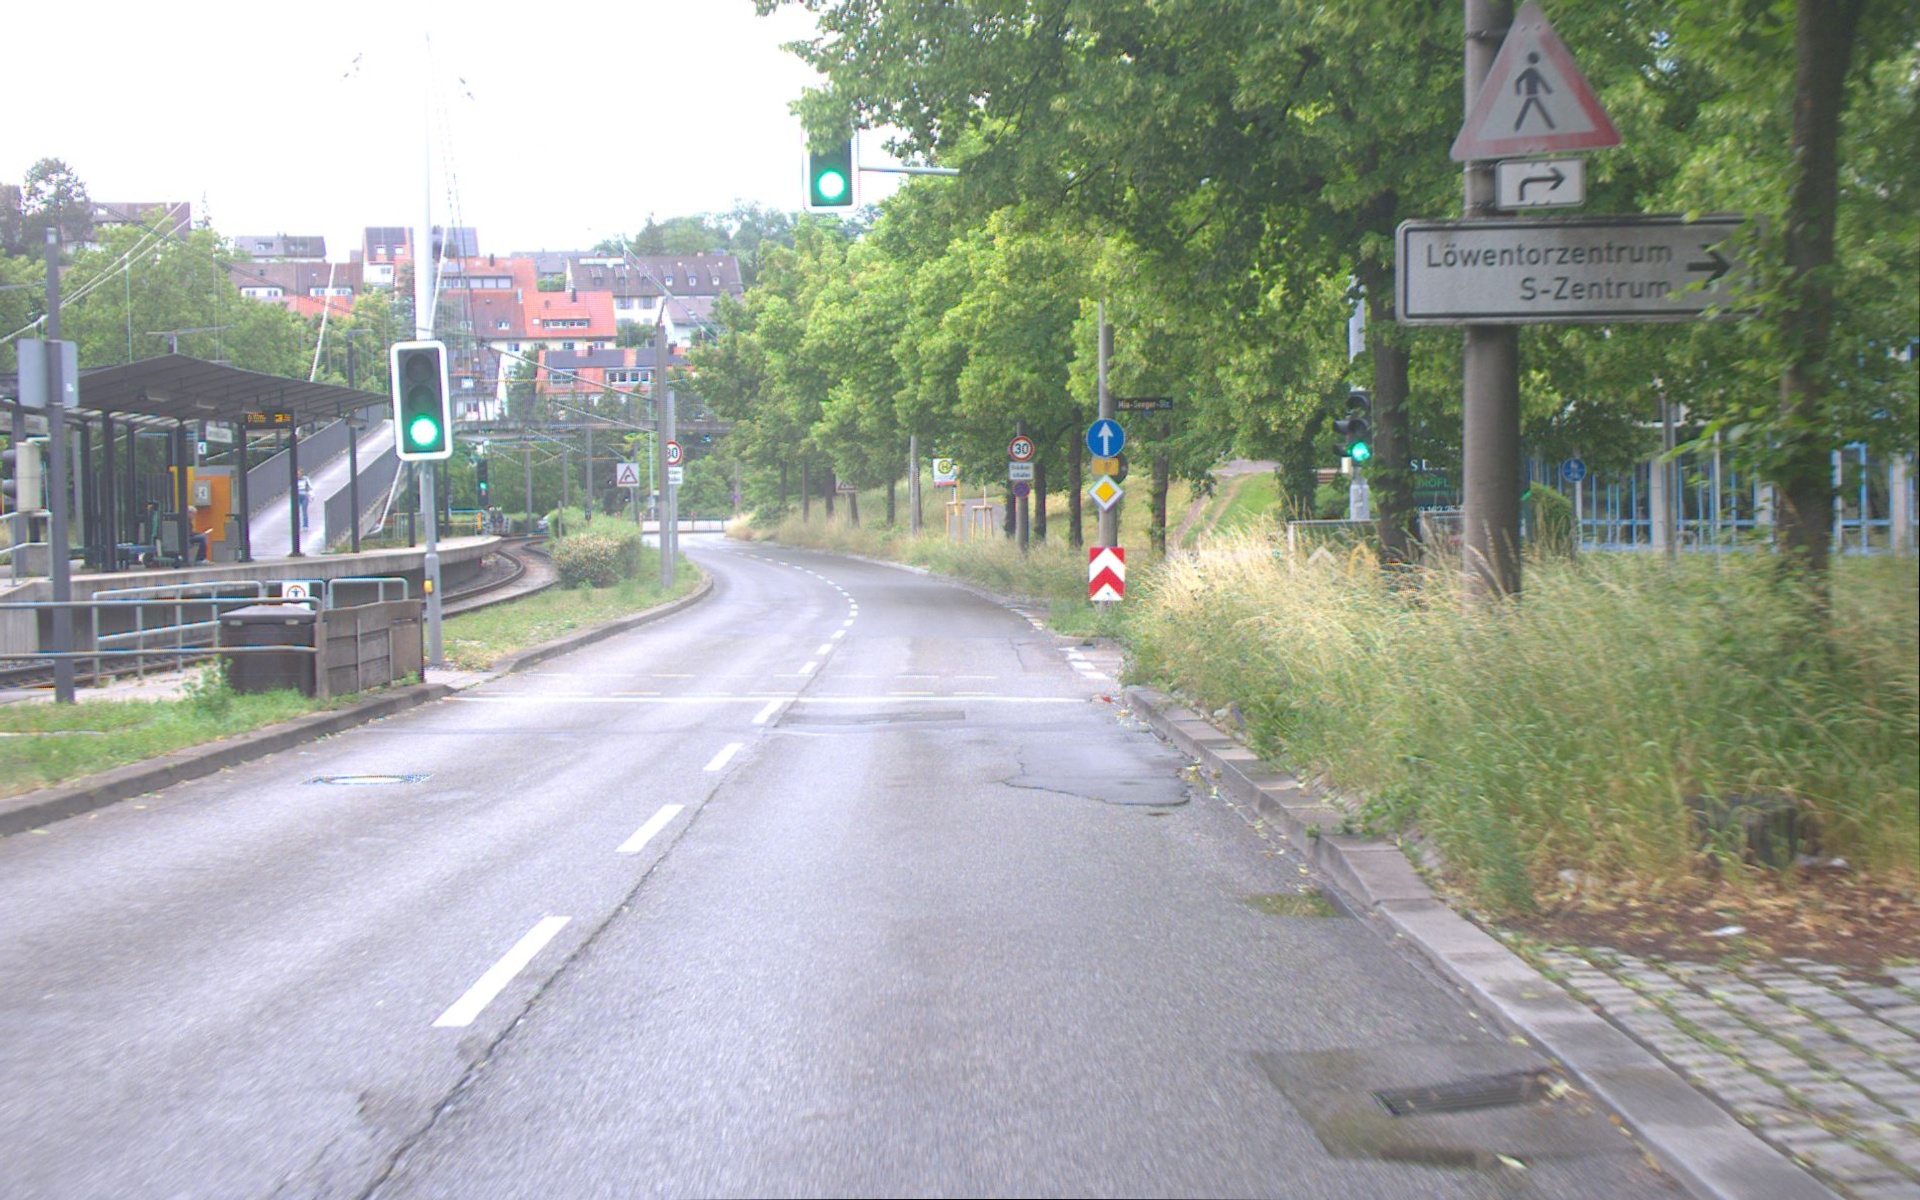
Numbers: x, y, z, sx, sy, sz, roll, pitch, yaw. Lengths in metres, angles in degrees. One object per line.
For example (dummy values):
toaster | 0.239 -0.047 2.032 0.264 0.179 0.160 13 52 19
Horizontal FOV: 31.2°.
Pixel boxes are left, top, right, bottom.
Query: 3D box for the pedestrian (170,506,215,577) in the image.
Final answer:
pedestrian | -14.830 -1.129 66.439 0.752 1.351 0.692 0 1 -4

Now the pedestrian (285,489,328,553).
pedestrian | -16.341 -1.971 85.945 0.935 1.605 1.027 0 1 -4
